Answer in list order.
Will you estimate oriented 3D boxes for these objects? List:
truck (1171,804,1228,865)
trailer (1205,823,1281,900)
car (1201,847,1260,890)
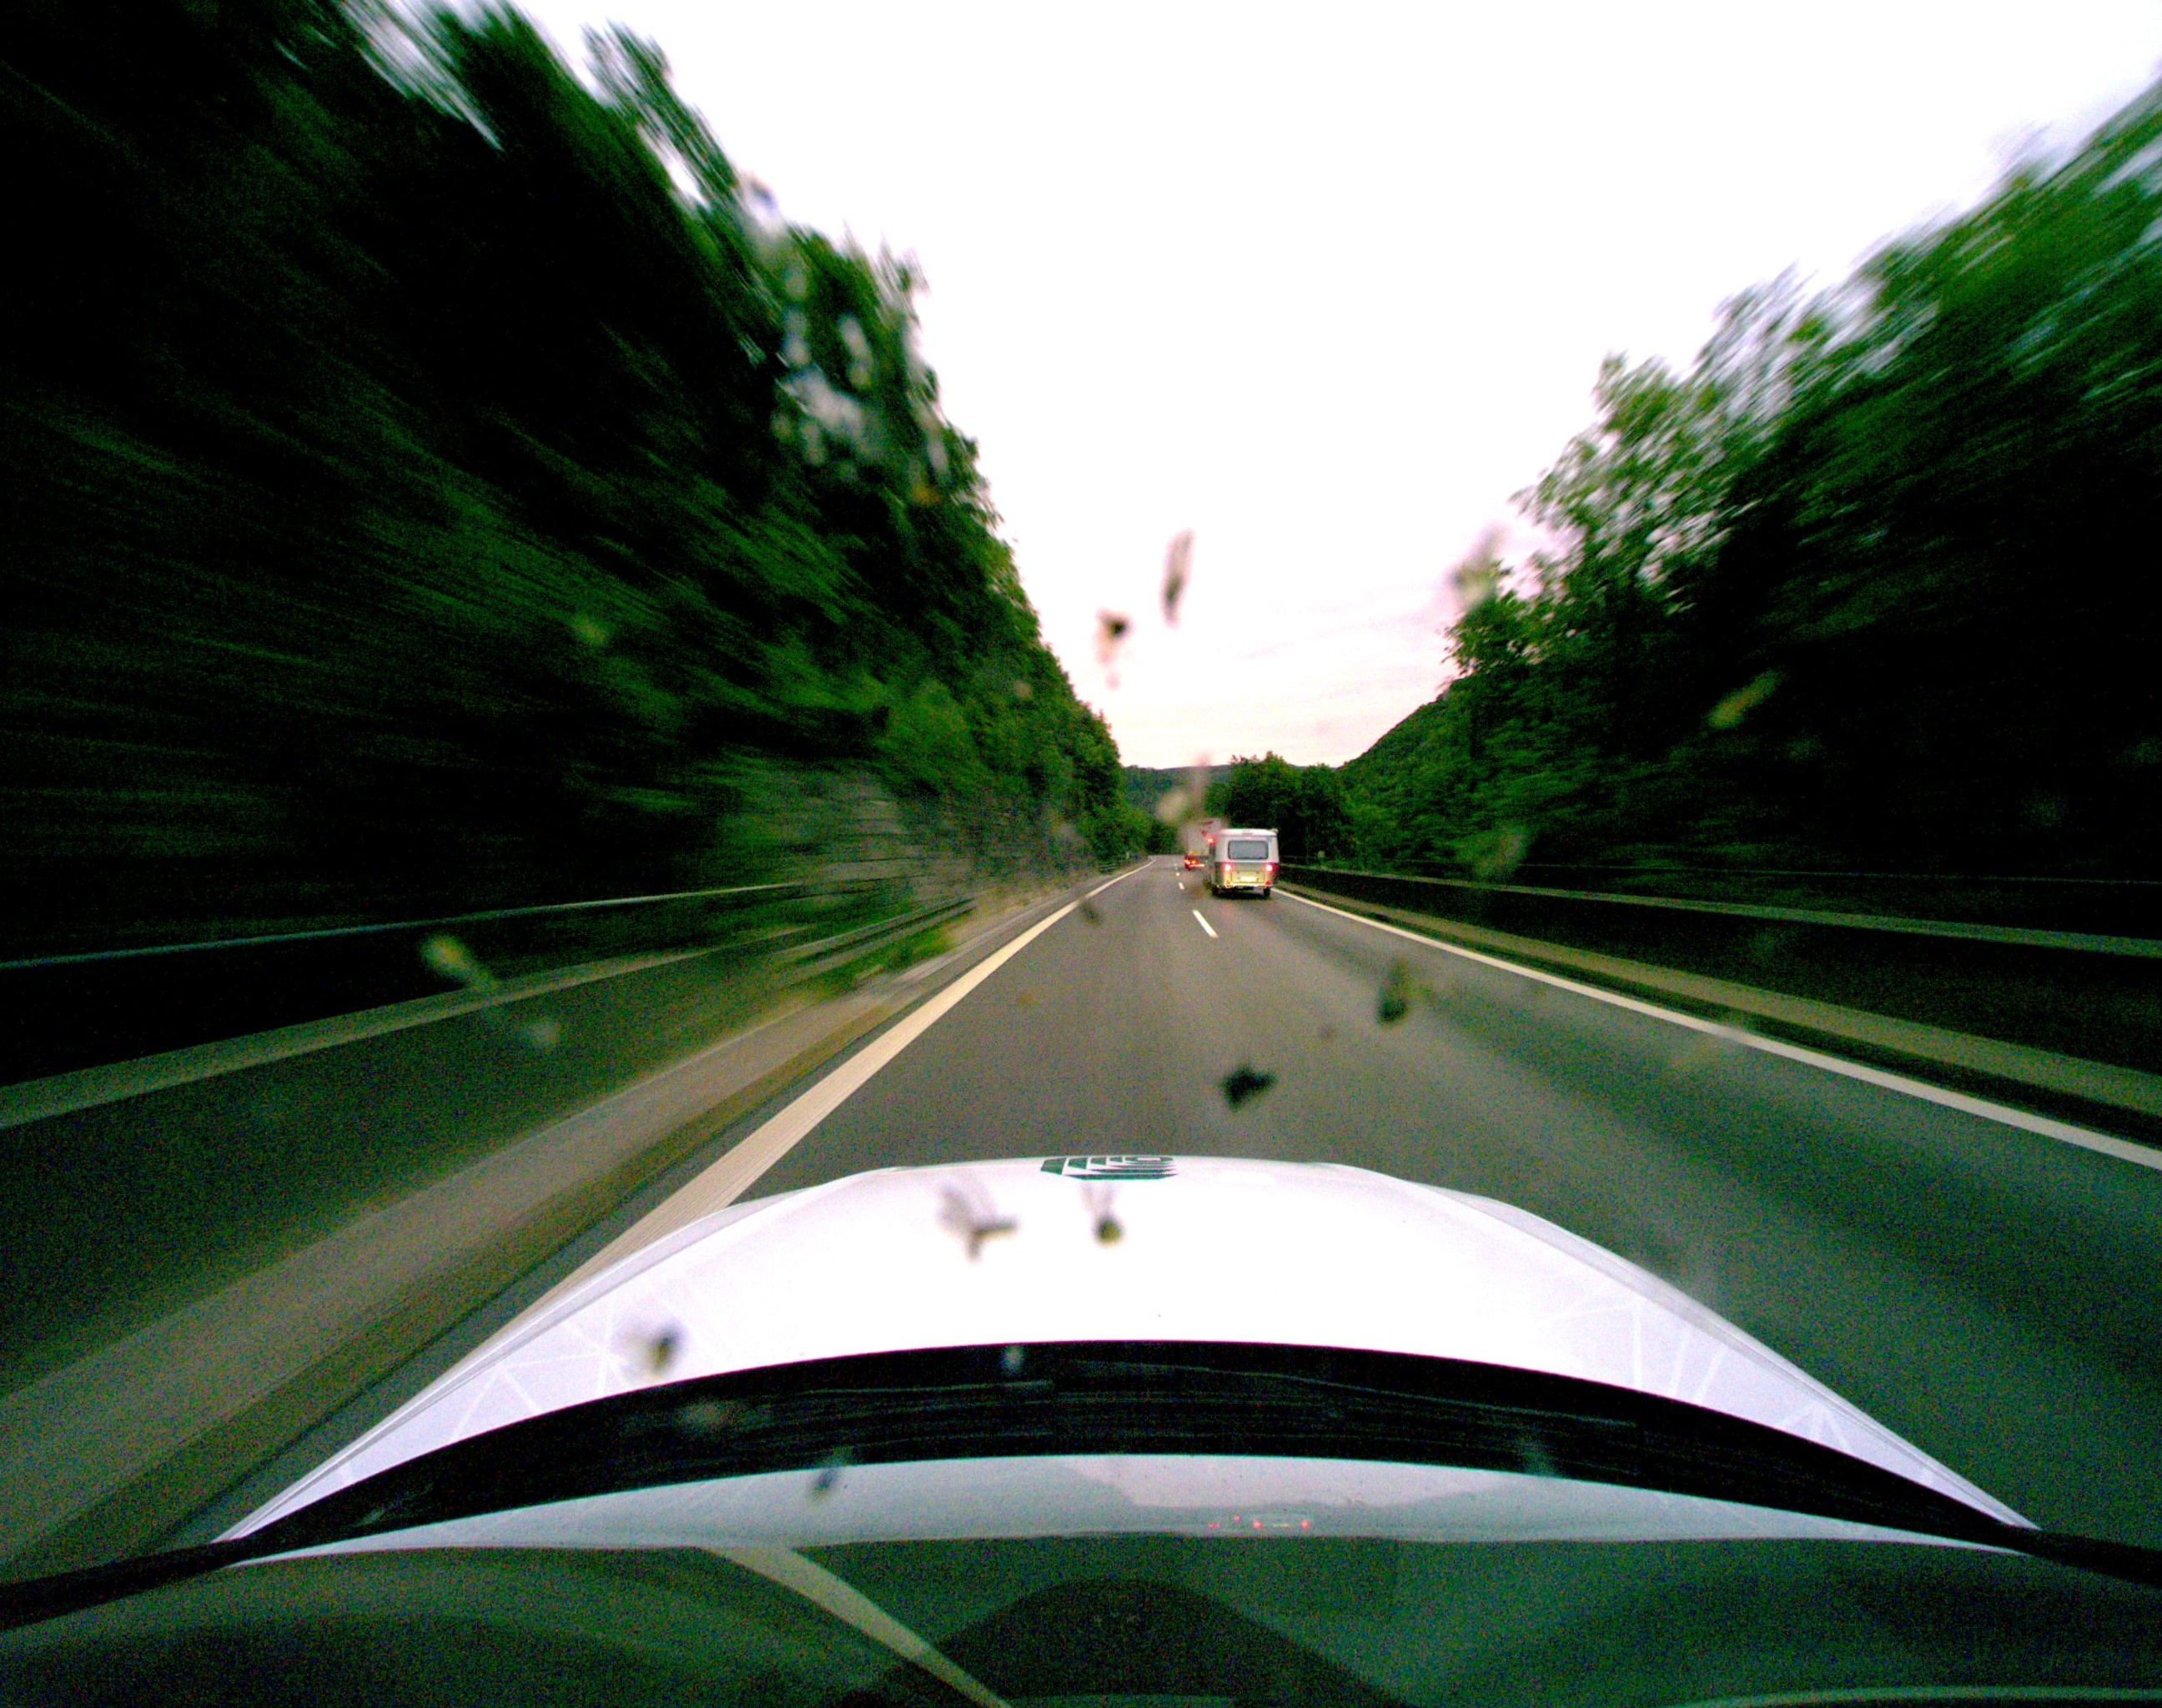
[{"bbox_3d":[9.582,-1.371,67.932,3.280,4.172,16.523,-6,-1,5],"label":"truck"},{"bbox_3d":[5.513,0.223,28.440,2.044,2.375,5.948,-1,0,6],"label":"trailer"},{"bbox_3d":[6.033,0.558,33.405,1.983,1.614,4.873,1,0,6],"label":"car"}]
